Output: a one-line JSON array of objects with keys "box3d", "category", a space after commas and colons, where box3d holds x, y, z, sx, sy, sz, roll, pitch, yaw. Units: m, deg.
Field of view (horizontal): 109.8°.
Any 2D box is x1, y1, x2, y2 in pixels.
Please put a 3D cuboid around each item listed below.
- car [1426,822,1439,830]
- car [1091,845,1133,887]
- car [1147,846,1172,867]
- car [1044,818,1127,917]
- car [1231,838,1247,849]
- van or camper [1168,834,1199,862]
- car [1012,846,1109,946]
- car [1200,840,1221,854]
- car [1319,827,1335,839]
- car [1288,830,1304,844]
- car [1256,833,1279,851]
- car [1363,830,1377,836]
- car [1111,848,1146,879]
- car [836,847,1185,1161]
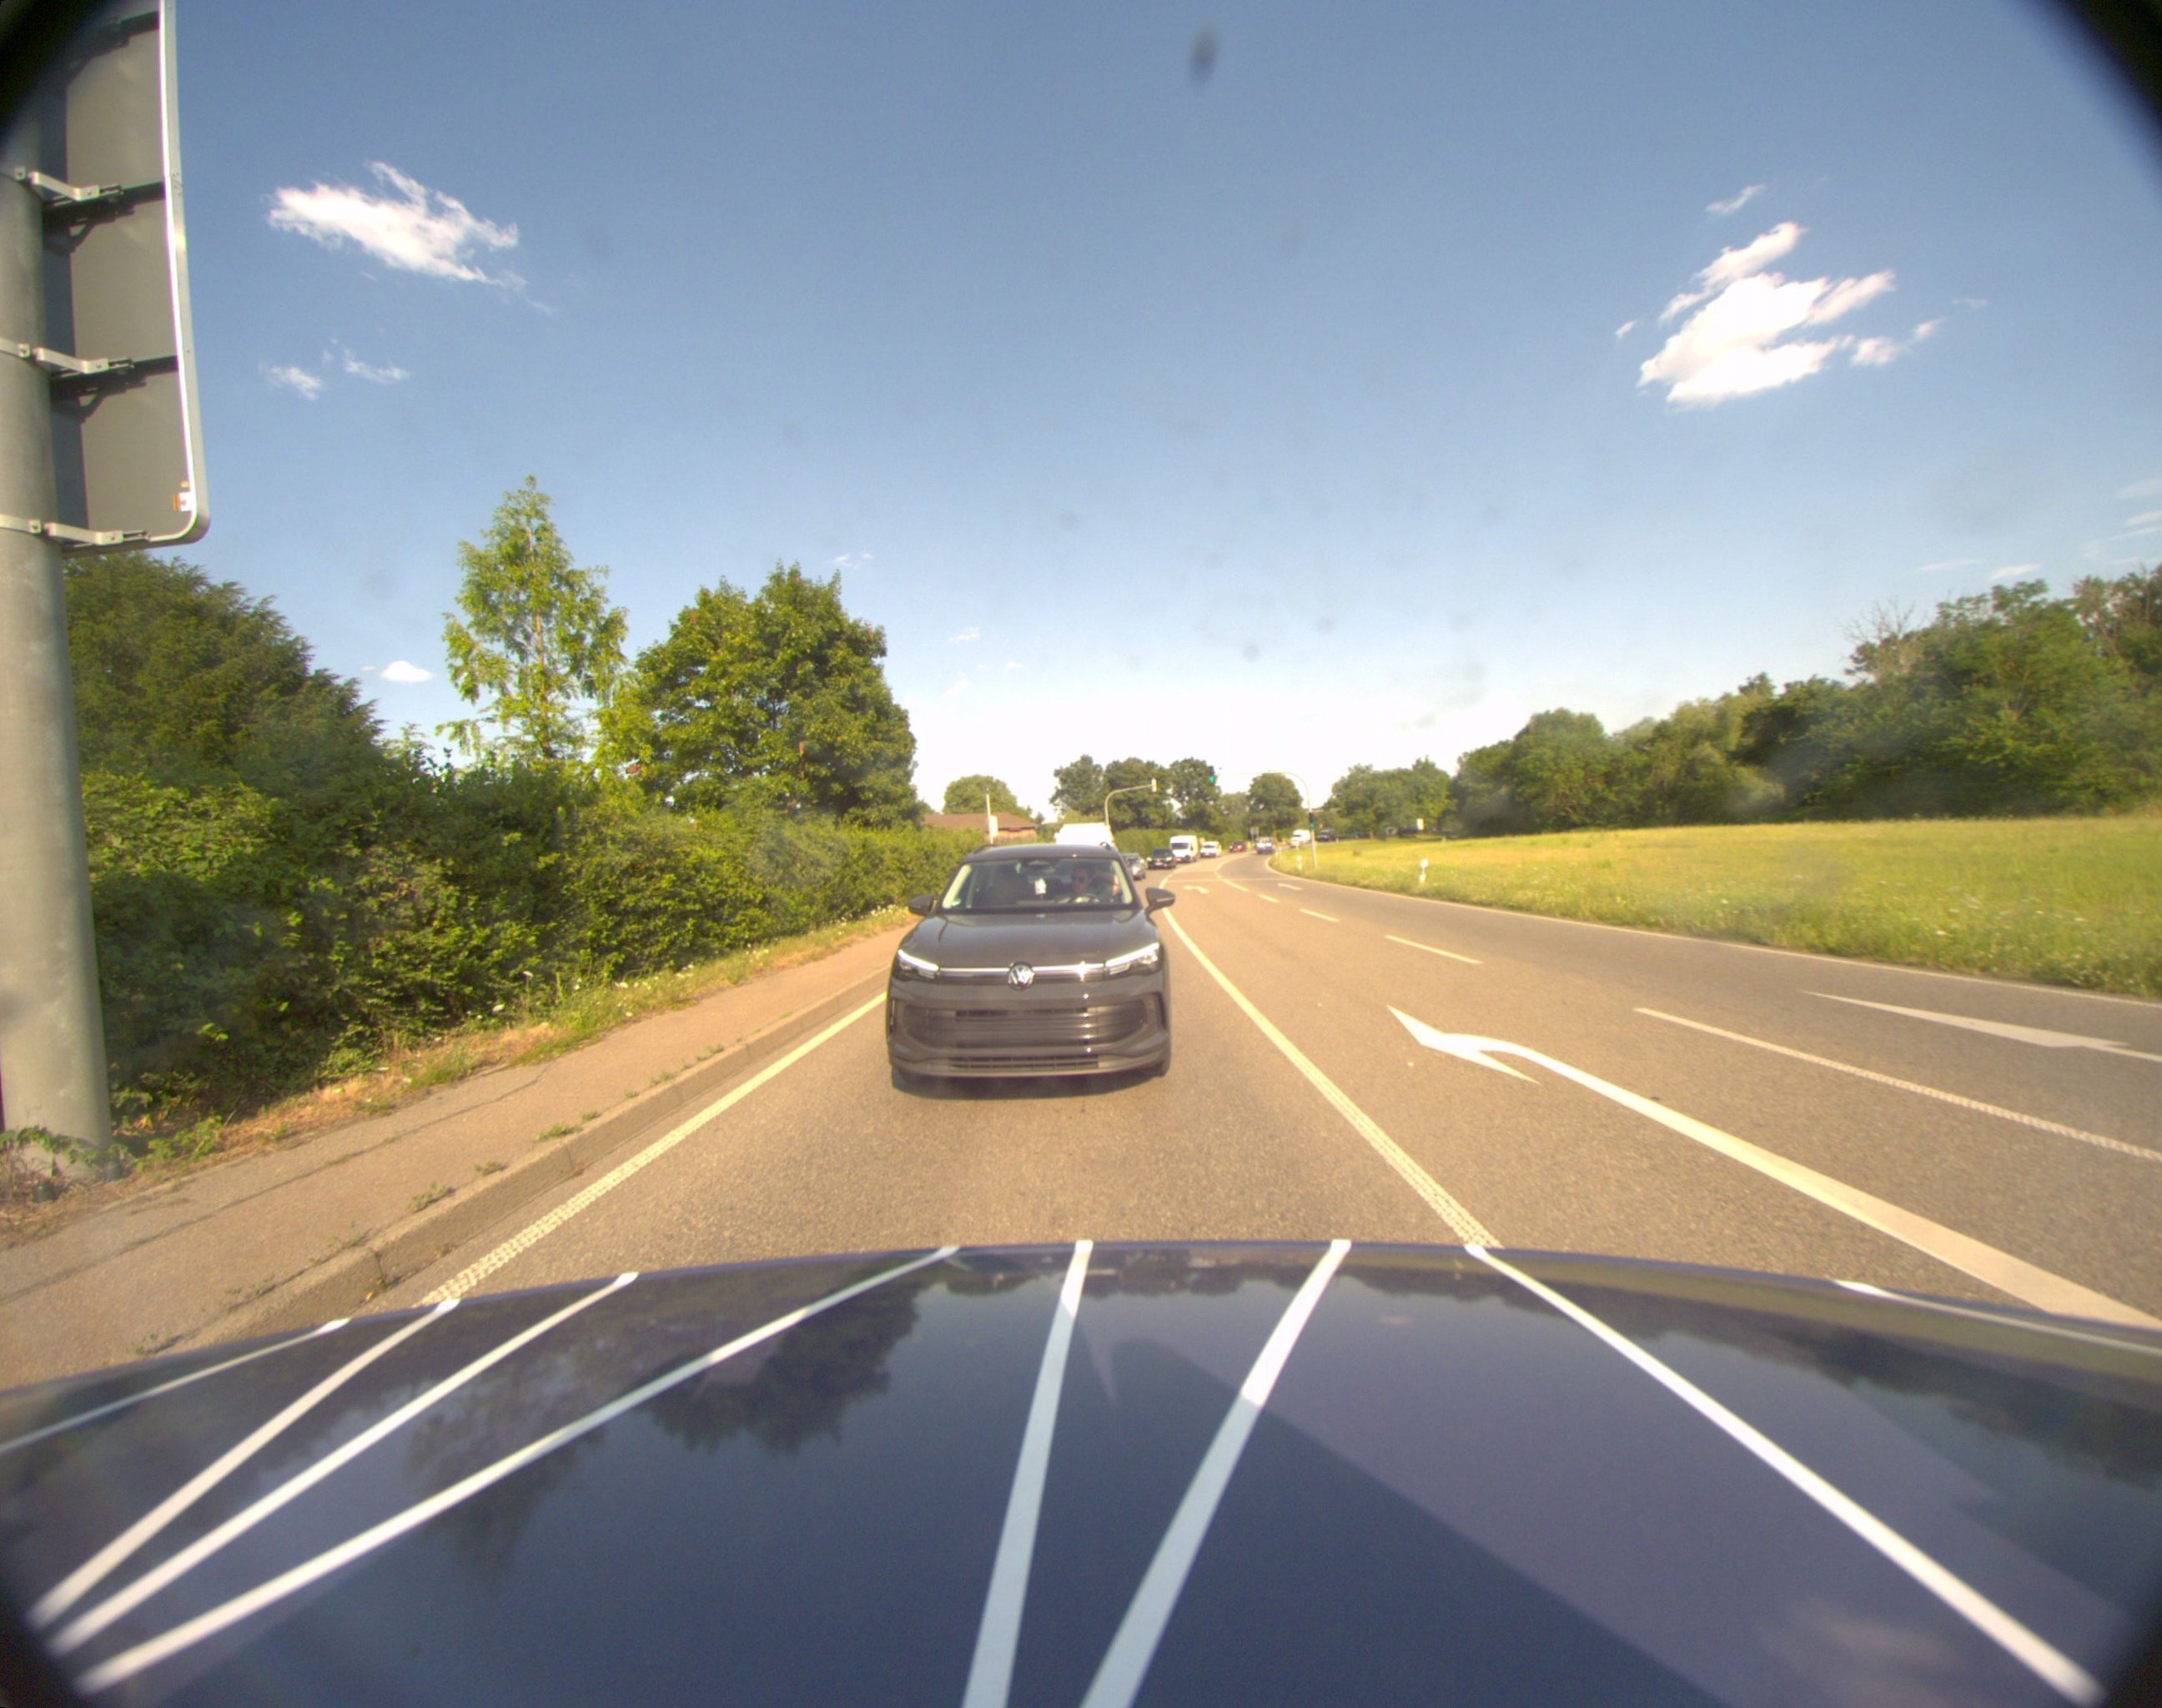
[{"box3d": [91.779, -7.295, 198.288, 4.344, 1.871, 1.725, -1, 1, -44], "category": "car"}, {"box3d": [1.439, 0.476, 34.363, 1.673, 1.718, 3.668, 0, 2, 6], "category": "car"}, {"box3d": [5.924, 0.146, 57.149, 1.606, 1.471, 3.619, 0, 1, 11], "category": "car"}, {"box3d": [0.253, 0.324, 20.711, 1.844, 2.338, 4.791, -1, 0, 5], "category": "car"}, {"box3d": [22.998, -1.541, 110.602, 1.671, 1.471, 3.499, -4, 0, 22], "category": "car"}, {"box3d": [9.703, -0.615, 71.594, 2.032, 2.461, 5.082, -4, 0, 15], "category": "van or camper"}, {"box3d": [-0.289, 0.720, 15.206, 1.659, 1.720, 3.804, -1, 1, 2], "category": "car"}, {"box3d": [14.787, -0.795, 86.660, 1.671, 1.471, 3.498, -4, 0, 21], "category": "car"}, {"box3d": [53.256, -4.577, 164.344, 1.995, 2.373, 4.944, -4, 1, 31], "category": "car"}, {"box3d": [35.468, -2.815, 125.316, 1.783, 2.002, 3.850, -4, 1, 26], "category": "car"}, {"box3d": [23.633, -1.587, 96.379, 2.000, 2.124, 4.786, -2, 0, 23], "category": "car"}, {"box3d": [65.983, -4.784, 173.363, 3.614, 1.458, 1.586, -1, 1, -43], "category": "car"}, {"box3d": [2.561, 0.484, 40.626, 1.634, 1.549, 3.419, -1, 0, 7], "category": "car"}, {"box3d": [-0.358, 0.806, 6.151, 1.866, 1.633, 3.999, -1, 2, 1], "category": "car"}]
